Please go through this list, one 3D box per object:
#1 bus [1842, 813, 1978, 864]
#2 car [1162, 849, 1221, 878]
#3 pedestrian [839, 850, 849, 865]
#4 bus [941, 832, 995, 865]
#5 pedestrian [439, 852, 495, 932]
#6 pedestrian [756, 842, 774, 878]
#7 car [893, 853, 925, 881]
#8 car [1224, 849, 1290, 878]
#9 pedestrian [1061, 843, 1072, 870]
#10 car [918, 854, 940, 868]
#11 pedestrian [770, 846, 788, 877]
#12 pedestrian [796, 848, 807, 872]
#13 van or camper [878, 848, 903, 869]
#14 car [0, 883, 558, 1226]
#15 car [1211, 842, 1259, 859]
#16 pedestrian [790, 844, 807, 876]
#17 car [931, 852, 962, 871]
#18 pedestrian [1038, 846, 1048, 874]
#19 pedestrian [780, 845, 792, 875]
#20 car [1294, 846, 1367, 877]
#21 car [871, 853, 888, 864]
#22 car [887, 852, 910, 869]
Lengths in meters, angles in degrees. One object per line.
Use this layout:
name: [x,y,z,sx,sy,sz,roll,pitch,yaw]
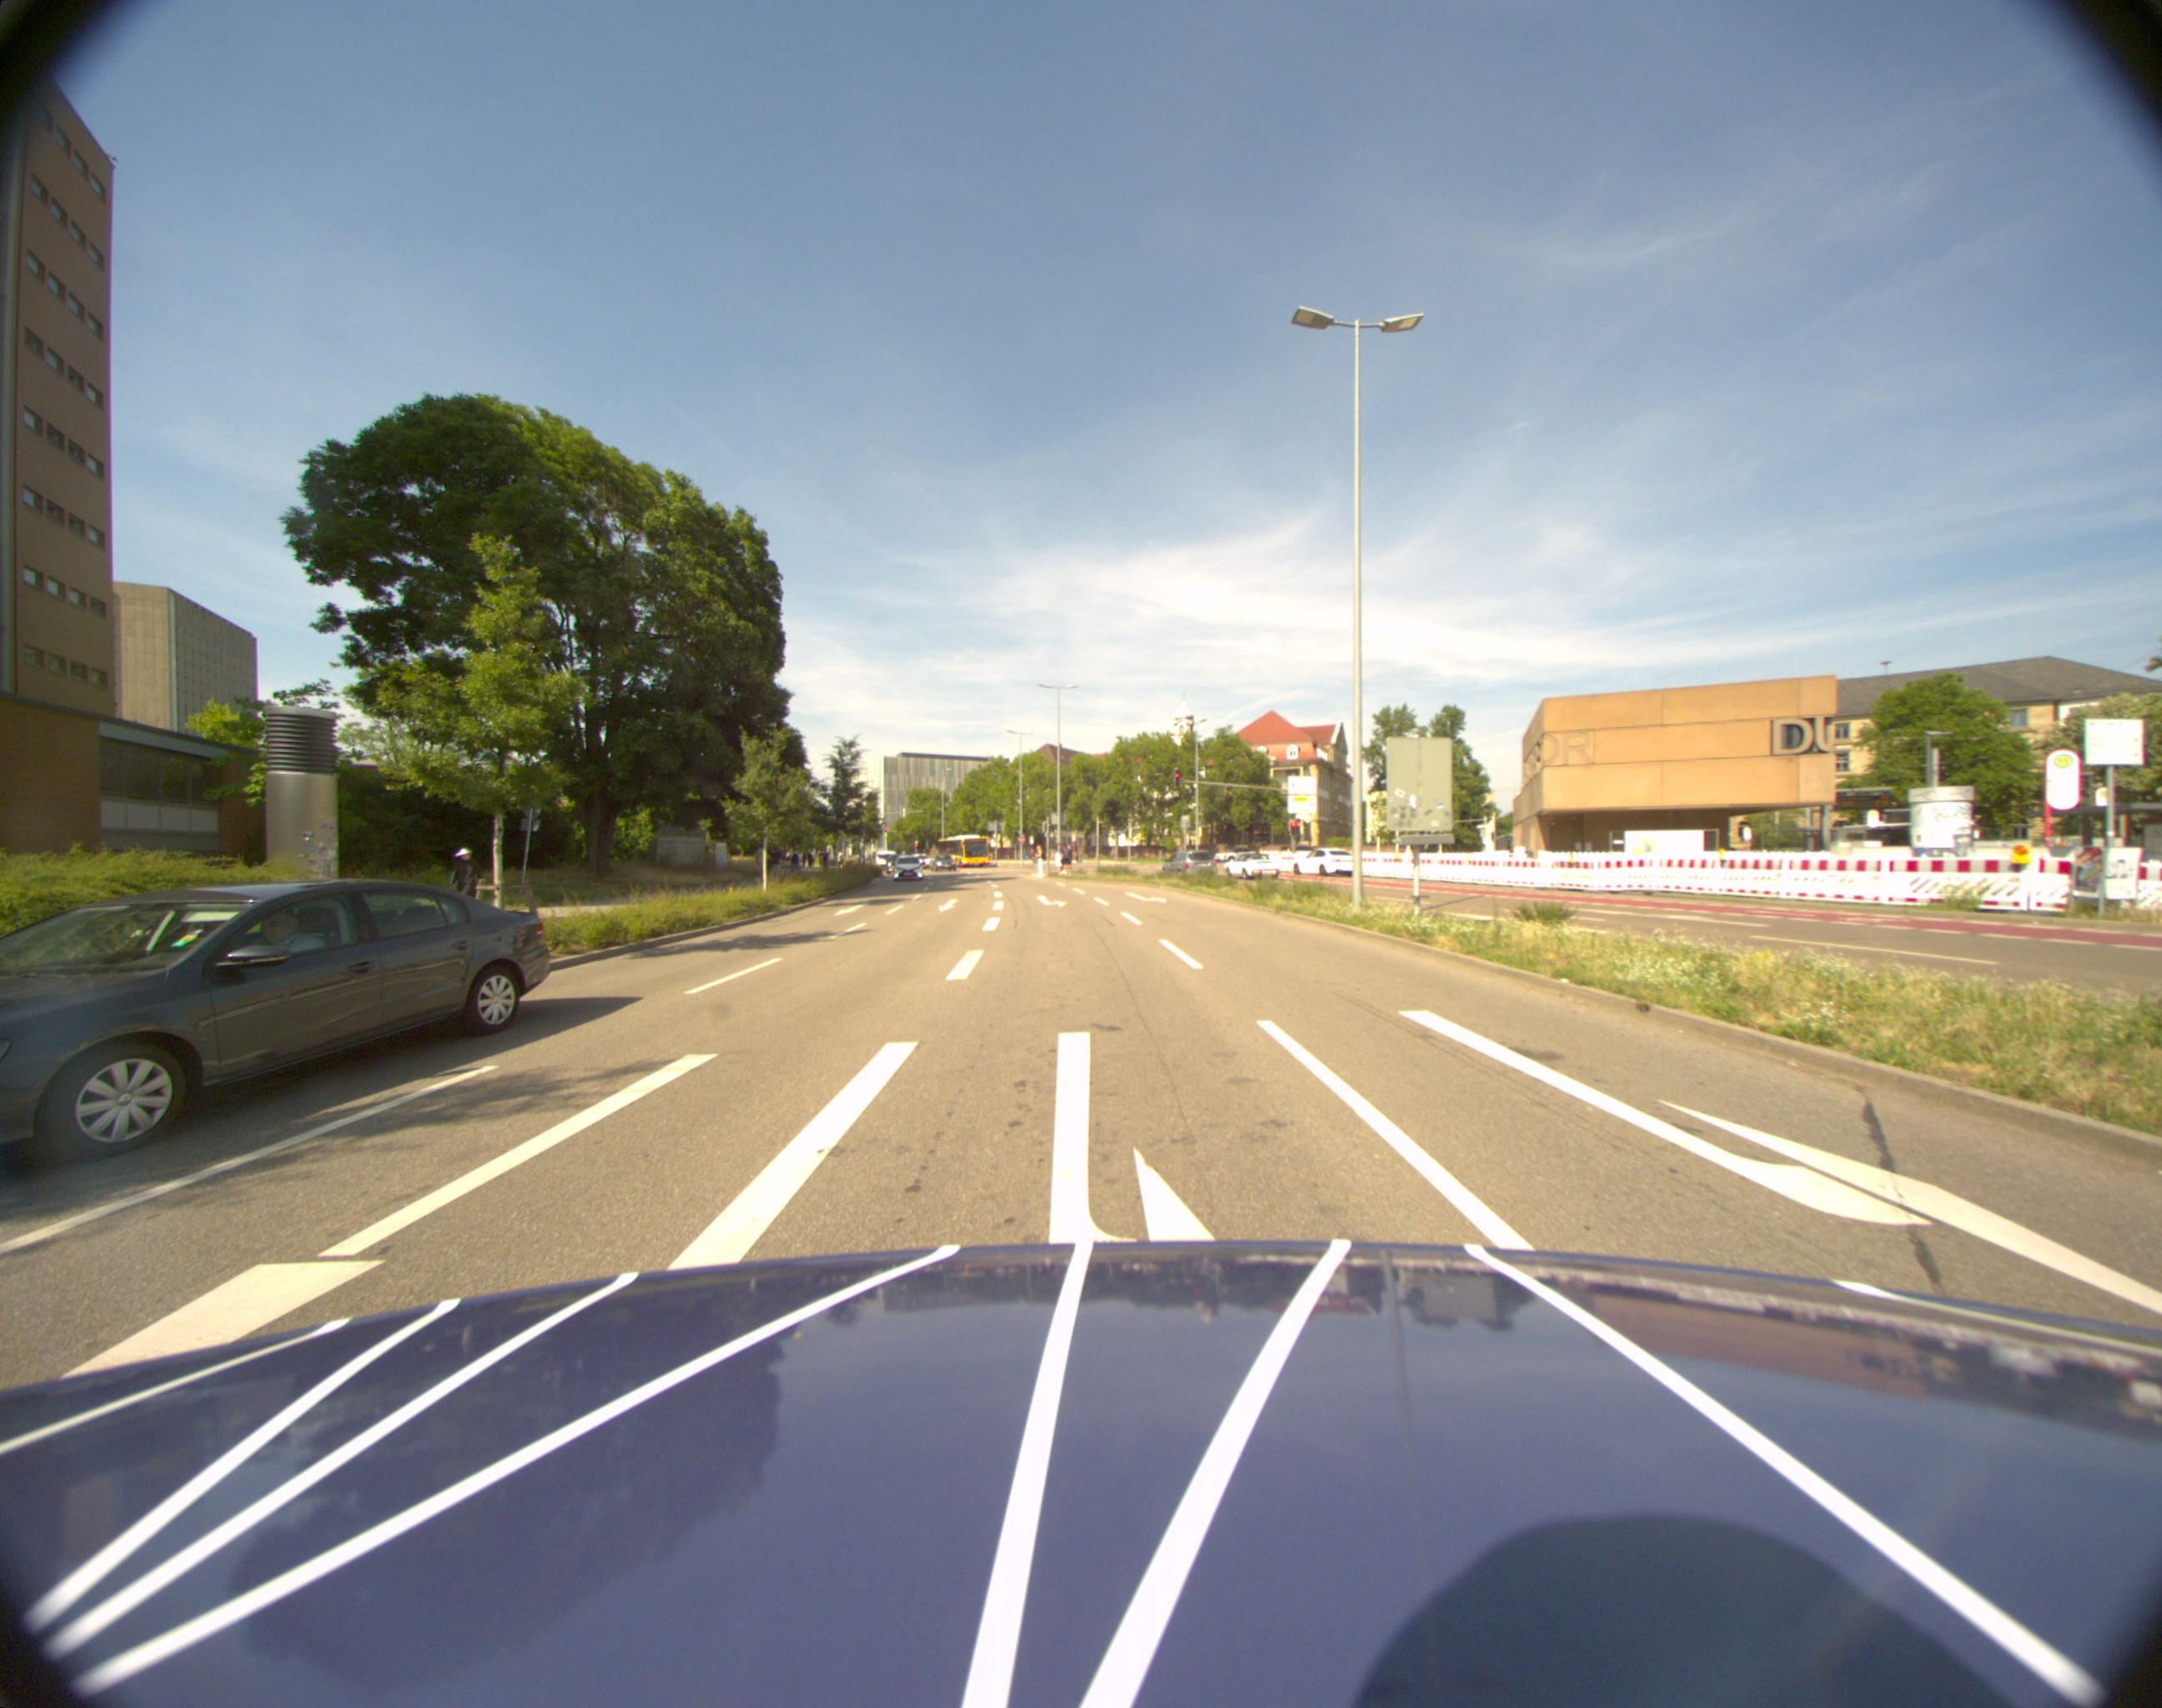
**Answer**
bus: [59.063,-1.052,54.630,2.751,3.303,11.810,0,1,28]
car: [5.338,0.424,37.235,1.600,1.279,3.995,-3,1,-11]
pedestrian: [-17.860,0.275,57.262,0.644,1.125,0.751,1,2,-16]
bus: [-11.578,-0.503,76.472,2.800,3.021,12.126,-1,0,-21]
pedestrian: [-13.131,0.788,16.260,0.592,1.655,0.731,1,2,0]
pedestrian: [-16.488,0.317,39.625,0.643,1.827,0.731,1,2,0]
car: [-10.143,0.719,44.736,1.683,1.466,3.755,-3,1,-13]
car: [8.472,0.418,36.893,1.600,1.279,3.995,-3,1,-11]
pedestrian: [-0.850,0.141,46.045,0.643,1.664,0.752,-1,1,0]
car: [-14.651,0.668,73.130,1.493,1.286,3.480,2,-1,-20]
pedestrian: [-15.757,0.394,39.634,0.643,1.617,0.731,1,2,0]
pedestrian: [-16.777,0.344,45.582,0.644,1.438,0.568,0,2,-21]
van or camper: [-18.262,0.366,72.641,1.732,1.877,4.913,-3,1,-20]
car: [-6.081,1.072,5.378,1.635,1.427,4.527,-2,1,-1]
car: [14.376,-0.329,71.004,4.118,1.435,1.756,-3,1,-25]
pedestrian: [-14.941,0.334,40.197,0.643,1.664,0.752,1,2,0]
car: [-11.291,0.599,63.598,1.653,1.416,4.112,-3,1,-23]
pedestrian: [-2.275,0.371,45.717,0.541,1.664,0.752,0,1,0]
pedestrian: [-17.582,0.372,45.250,0.644,1.754,0.474,0,2,-21]
car: [12.777,0.336,39.189,1.804,1.412,3.995,-3,1,-11]
car: [-22.588,0.489,85.064,1.492,1.286,3.479,-1,1,-20]
car: [-13.978,0.463,58.219,1.411,1.287,3.575,-1,1,-18]
